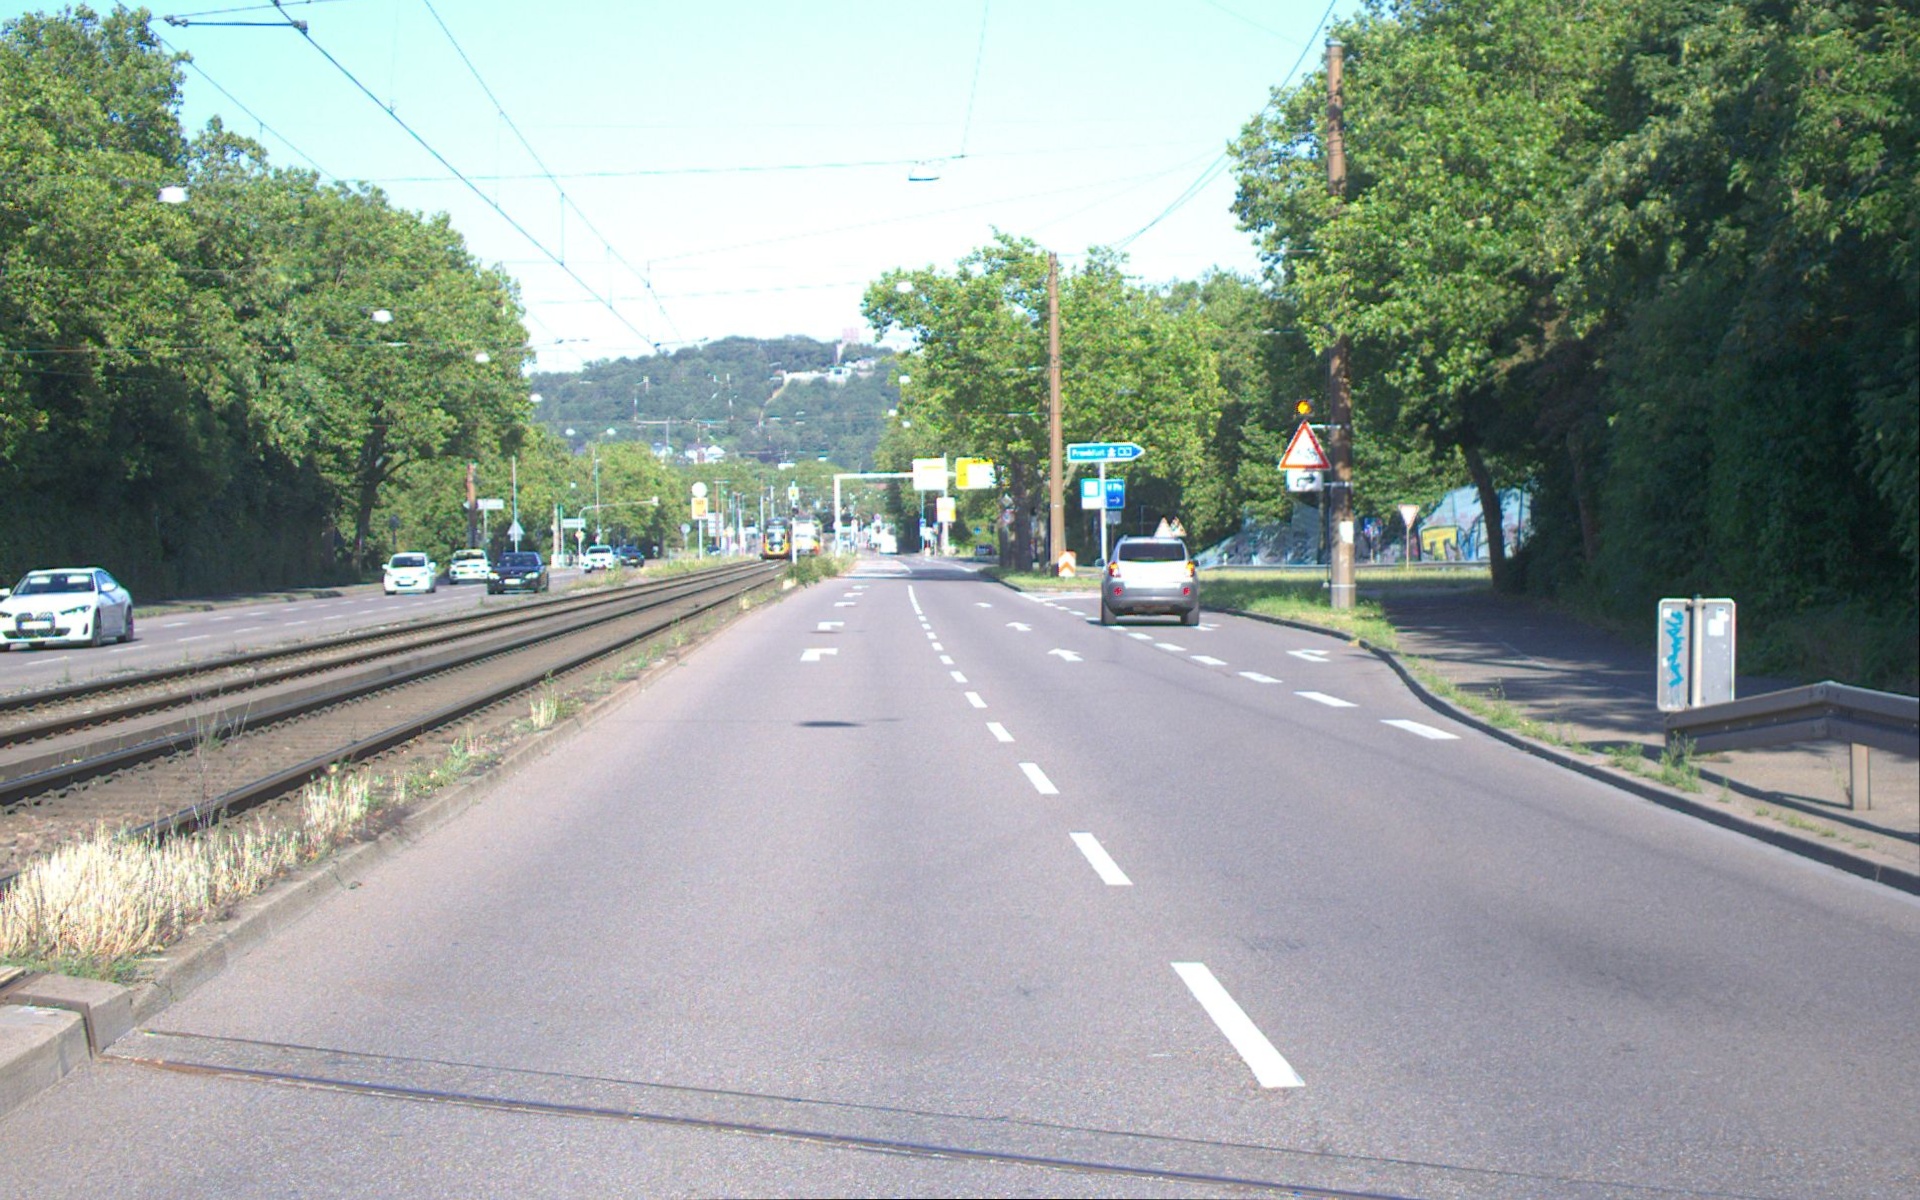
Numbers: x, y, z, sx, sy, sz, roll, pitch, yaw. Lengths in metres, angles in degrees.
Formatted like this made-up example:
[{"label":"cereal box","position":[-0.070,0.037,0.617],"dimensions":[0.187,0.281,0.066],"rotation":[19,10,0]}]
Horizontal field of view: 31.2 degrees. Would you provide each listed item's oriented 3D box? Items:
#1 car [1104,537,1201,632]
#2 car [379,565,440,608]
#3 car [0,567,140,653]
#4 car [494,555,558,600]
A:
[{"label":"car","position":[3.728,-0.314,66.750],"dimensions":[1.809,1.767,3.862],"rotation":[0,1,3]},{"label":"car","position":[-21.397,-0.535,133.700],"dimensions":[1.691,1.550,4.191],"rotation":[-3,1,-1]},{"label":"car","position":[-16.156,0.152,61.963],"dimensions":[1.754,1.409,4.878],"rotation":[-3,1,-3]},{"label":"car","position":[-15.032,-0.792,119.260],"dimensions":[1.657,1.428,4.502],"rotation":[-3,1,-1]}]
